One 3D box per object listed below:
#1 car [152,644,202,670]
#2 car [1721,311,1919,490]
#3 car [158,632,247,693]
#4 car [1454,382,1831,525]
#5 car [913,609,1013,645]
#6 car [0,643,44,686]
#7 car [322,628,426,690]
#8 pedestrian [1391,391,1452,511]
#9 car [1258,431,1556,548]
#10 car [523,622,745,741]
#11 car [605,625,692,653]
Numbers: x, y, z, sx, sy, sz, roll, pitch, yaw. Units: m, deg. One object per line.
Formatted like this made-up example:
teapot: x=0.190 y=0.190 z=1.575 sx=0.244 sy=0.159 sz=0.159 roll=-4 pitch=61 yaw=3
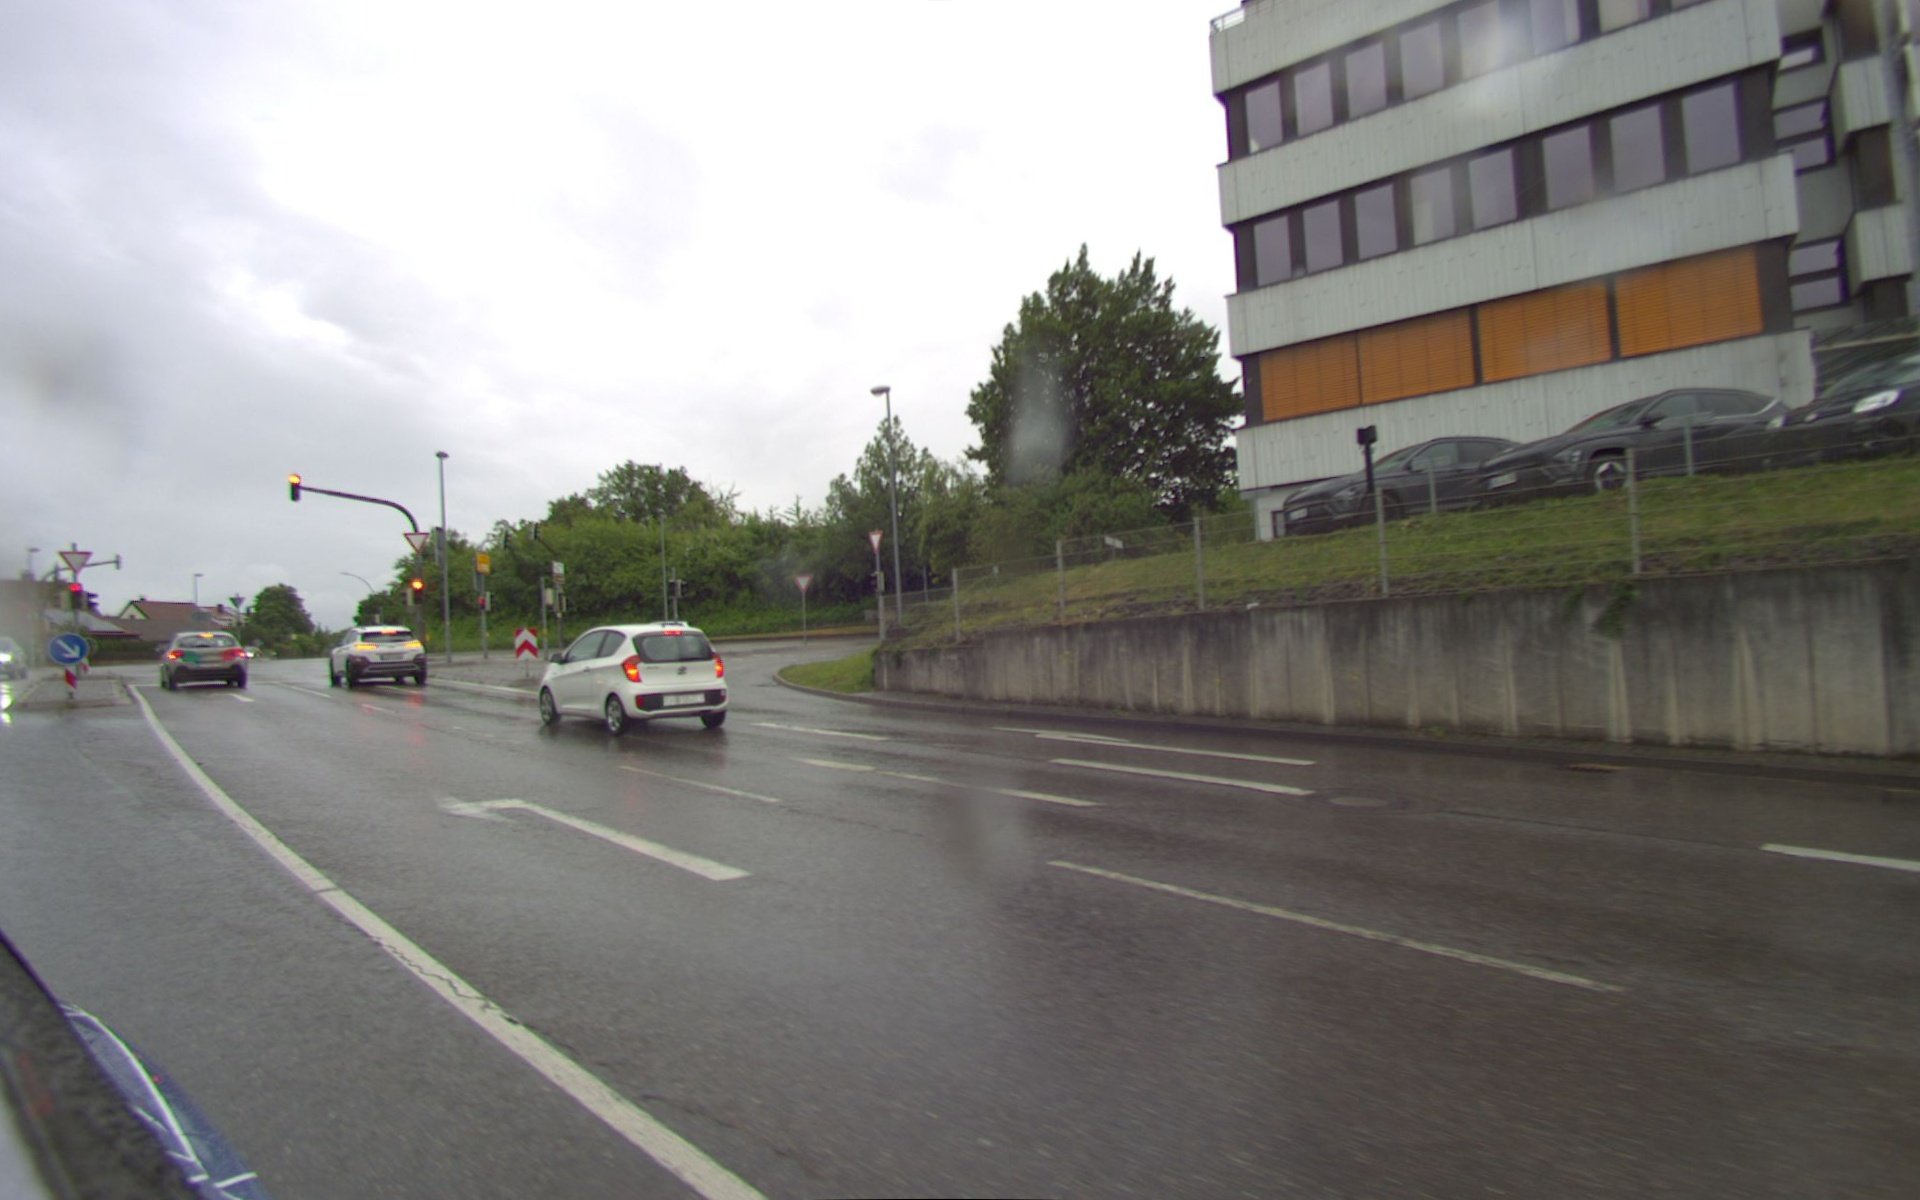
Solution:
car: x=-77.077 y=5.546 z=99.679 sx=1.632 sy=2.368 sz=3.997 roll=-3 pitch=-2 yaw=2
car: x=11.213 y=-2.191 z=11.484 sx=3.935 sy=1.598 sz=1.907 roll=-2 pitch=1 yaw=-10
car: x=-20.440 y=1.644 z=27.242 sx=1.641 sy=1.506 sz=4.006 roll=1 pitch=-2 yaw=-41
car: x=9.051 y=-1.925 z=13.581 sx=3.935 sy=1.598 sz=1.907 roll=-2 pitch=1 yaw=-10
car: x=0.140 y=1.151 z=42.918 sx=3.937 sy=1.467 sz=1.908 roll=2 pitch=-1 yaw=-40
car: x=-34.970 y=2.384 z=36.505 sx=1.867 sy=1.494 sz=4.012 roll=-1 pitch=-3 yaw=-27
car: x=-15.911 y=1.562 z=27.407 sx=1.699 sy=1.506 sz=4.006 roll=-1 pitch=-1 yaw=-41
pedestrian: x=6.346 y=-2.033 z=13.922 sx=0.511 sy=1.562 sz=0.504 roll=-1 pitch=-1 yaw=-24
car: x=7.024 y=-1.722 z=16.054 sx=3.933 sy=1.598 sz=1.908 roll=-2 pitch=1 yaw=-14
car: x=-4.833 y=1.118 z=14.700 sx=1.633 sy=1.440 sz=3.797 roll=-1 pitch=-2 yaw=-42
car: x=-17.569 y=2.211 z=57.233 sx=4.462 sy=1.373 sz=1.765 roll=-2 pitch=-1 yaw=-6
